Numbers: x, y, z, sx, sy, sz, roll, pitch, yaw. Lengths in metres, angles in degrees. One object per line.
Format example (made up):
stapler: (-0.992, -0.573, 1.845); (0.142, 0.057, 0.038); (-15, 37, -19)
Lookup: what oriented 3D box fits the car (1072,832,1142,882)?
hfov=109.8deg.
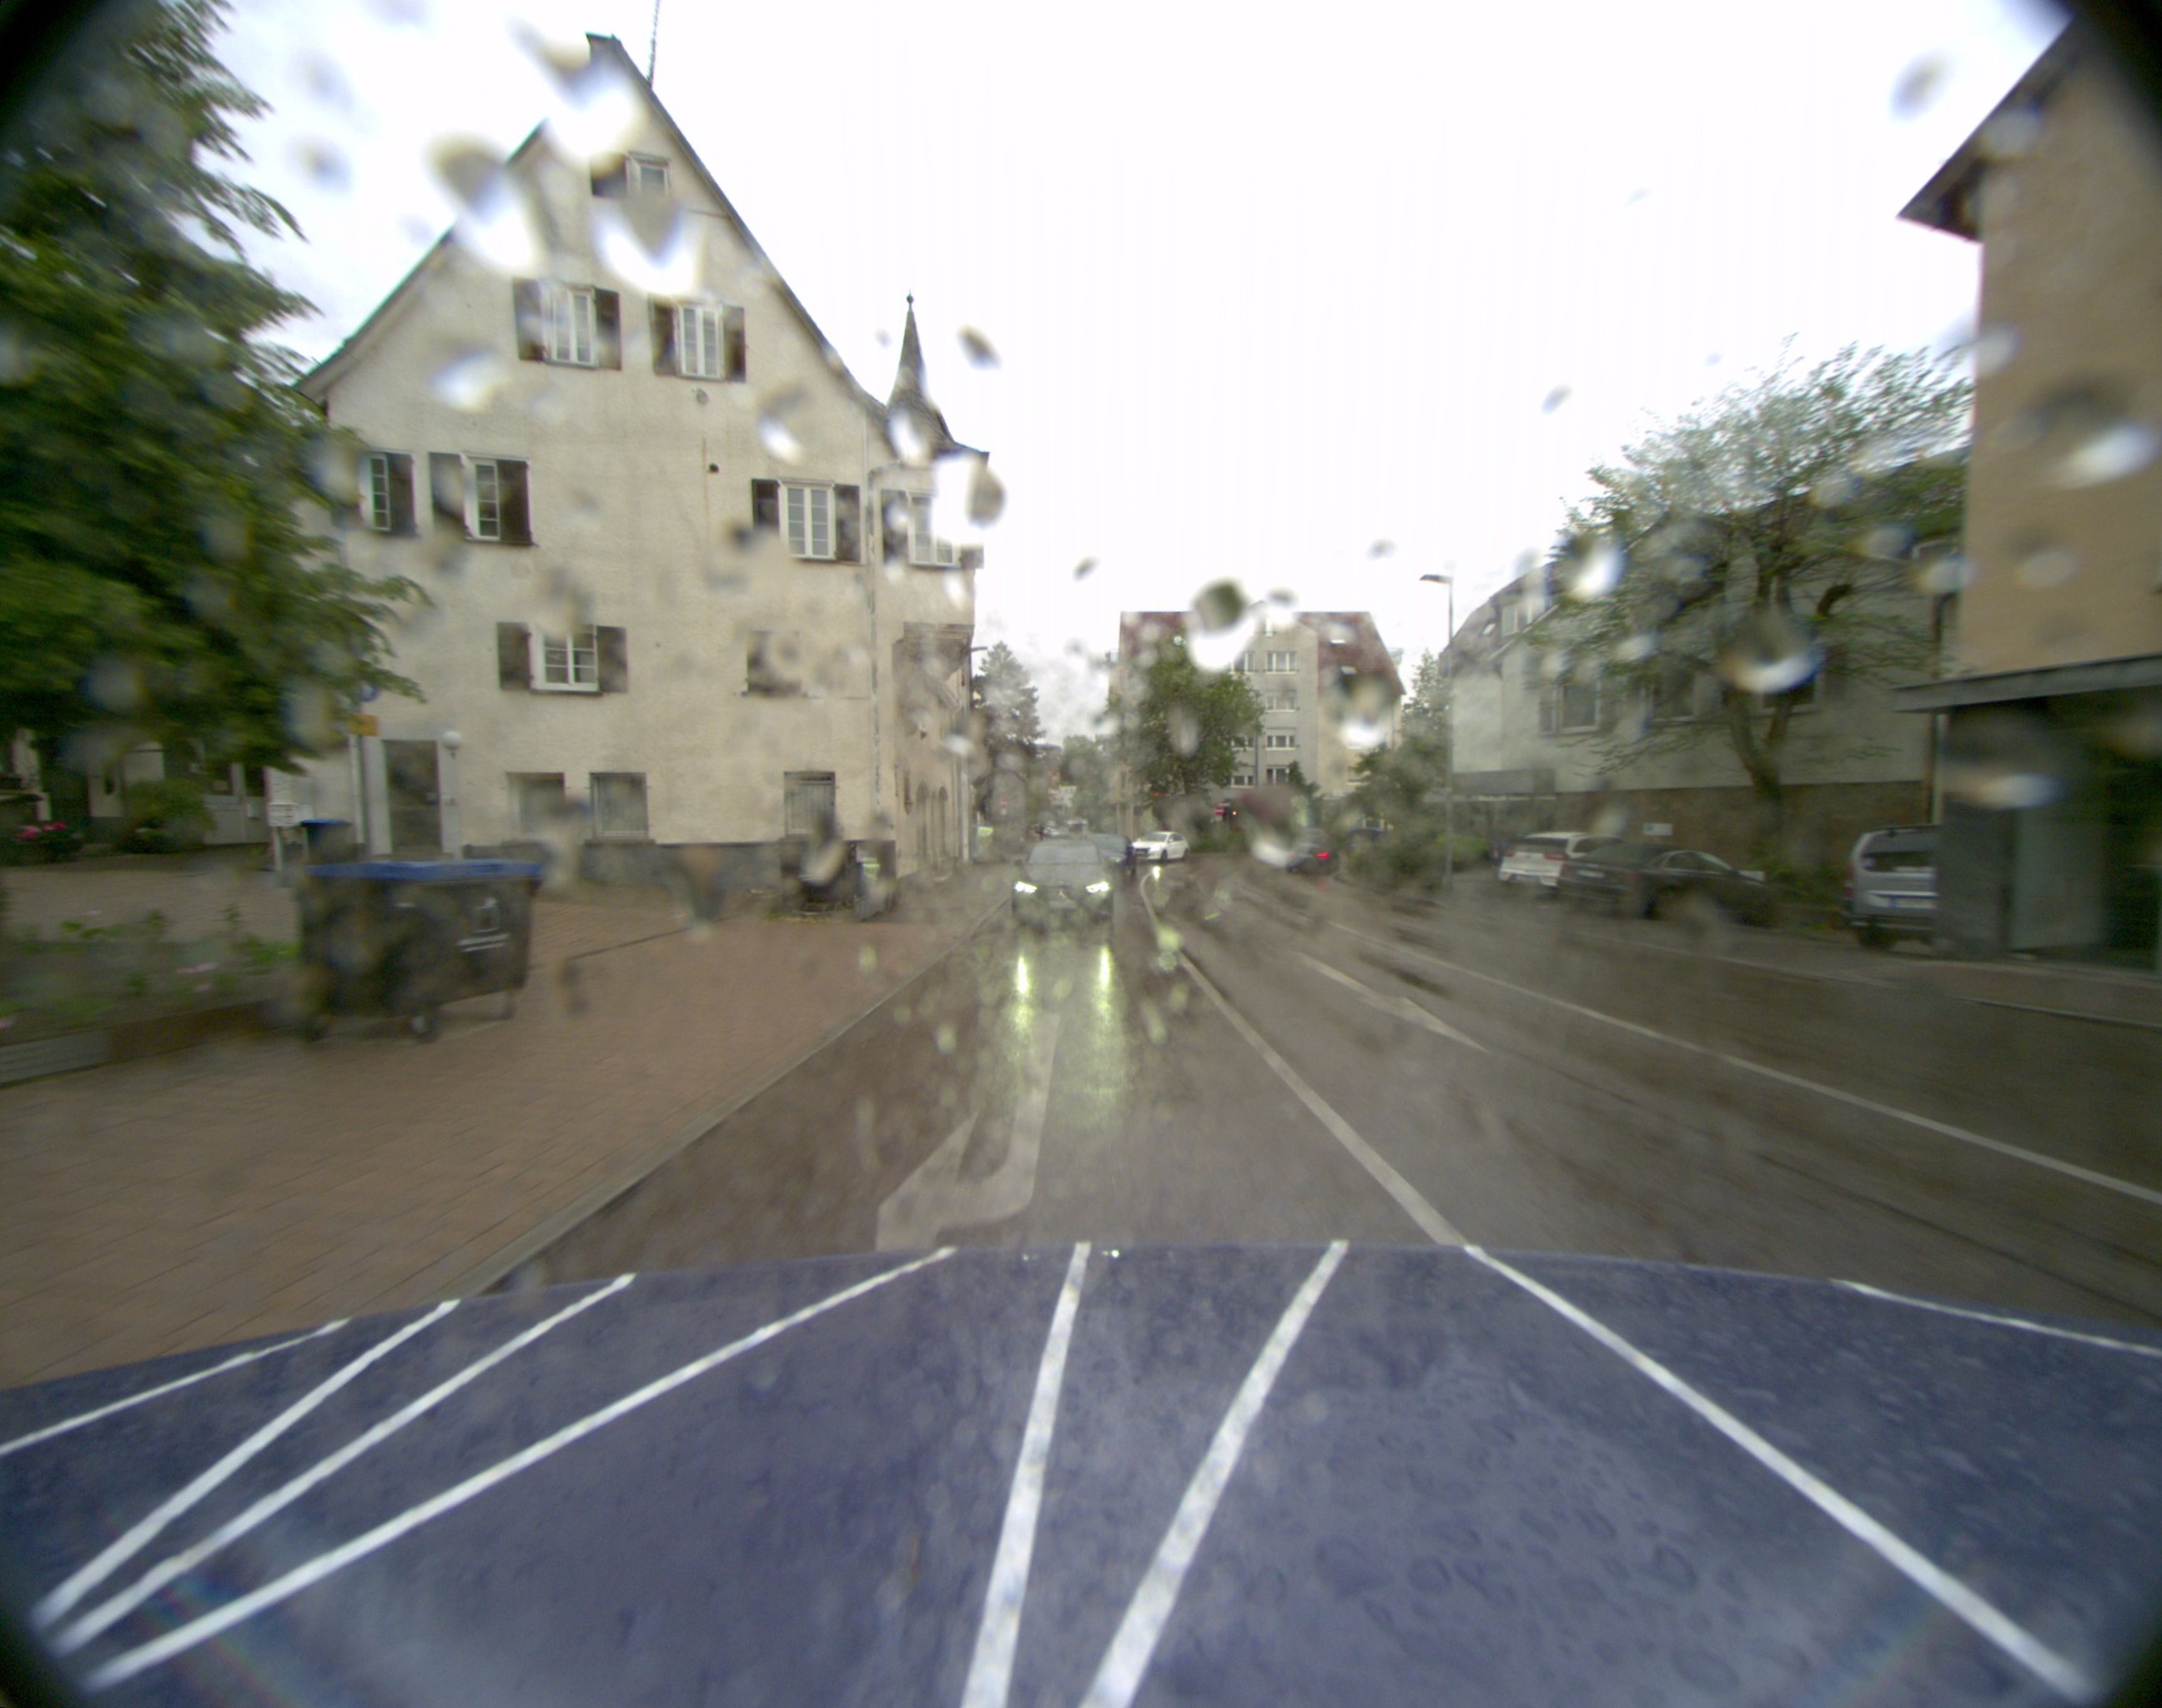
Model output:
car: (1.015, 0.031, 26.846); (1.772, 1.524, 4.380); (1, 3, 11)

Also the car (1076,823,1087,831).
car: (0.184, -5.517, 154.449); (1.998, 1.564, 4.000); (1, 1, 3)

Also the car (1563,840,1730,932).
car: (11.431, 0.529, 15.279); (4.007, 1.446, 1.894); (-3, 4, -42)

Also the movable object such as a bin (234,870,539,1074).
movable object such as a bin: (-5.143, 0.810, 5.746); (1.157, 1.306, 1.186); (0, 3, 7)

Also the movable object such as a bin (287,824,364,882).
movable object such as a bin: (-12.892, -0.022, 12.980); (0.658, 0.917, 0.592); (2, 7, -8)

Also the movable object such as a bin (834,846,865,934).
movable object such as a bin: (-3.999, 0.598, 13.124); (0.413, 1.435, 0.642); (-2, 5, -23)

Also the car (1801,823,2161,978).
car: (13.464, 0.709, 11.190); (4.939, 1.814, 1.959); (5, -1, -18)

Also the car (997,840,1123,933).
car: (-0.264, 0.520, 15.384); (1.997, 1.485, 4.313); (0, 3, 6)

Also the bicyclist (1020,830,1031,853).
bicyclist: (-4.500, -1.029, 61.432); (0.686, 1.514, 1.025); (6, 26, -11)

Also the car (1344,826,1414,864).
car: (15.871, -0.447, 40.339); (1.994, 1.871, 4.388); (2, 0, 42)

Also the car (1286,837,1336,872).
car: (9.745, 0.011, 32.003); (1.863, 1.379, 4.268); (1, 0, 19)

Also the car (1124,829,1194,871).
car: (3.823, -0.236, 36.899); (1.809, 1.558, 4.005); (5, 8, 31)

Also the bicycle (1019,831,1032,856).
bicycle: (-4.529, -0.858, 61.528); (0.764, 1.032, 2.071); (10, 26, -12)

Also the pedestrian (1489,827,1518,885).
pedestrian: (11.841, 0.047, 21.312); (0.544, 1.567, 0.657); (-3, 2, 19)

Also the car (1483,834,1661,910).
car: (11.929, 0.348, 18.475); (3.650, 1.620, 1.995); (-1, 3, -26)
